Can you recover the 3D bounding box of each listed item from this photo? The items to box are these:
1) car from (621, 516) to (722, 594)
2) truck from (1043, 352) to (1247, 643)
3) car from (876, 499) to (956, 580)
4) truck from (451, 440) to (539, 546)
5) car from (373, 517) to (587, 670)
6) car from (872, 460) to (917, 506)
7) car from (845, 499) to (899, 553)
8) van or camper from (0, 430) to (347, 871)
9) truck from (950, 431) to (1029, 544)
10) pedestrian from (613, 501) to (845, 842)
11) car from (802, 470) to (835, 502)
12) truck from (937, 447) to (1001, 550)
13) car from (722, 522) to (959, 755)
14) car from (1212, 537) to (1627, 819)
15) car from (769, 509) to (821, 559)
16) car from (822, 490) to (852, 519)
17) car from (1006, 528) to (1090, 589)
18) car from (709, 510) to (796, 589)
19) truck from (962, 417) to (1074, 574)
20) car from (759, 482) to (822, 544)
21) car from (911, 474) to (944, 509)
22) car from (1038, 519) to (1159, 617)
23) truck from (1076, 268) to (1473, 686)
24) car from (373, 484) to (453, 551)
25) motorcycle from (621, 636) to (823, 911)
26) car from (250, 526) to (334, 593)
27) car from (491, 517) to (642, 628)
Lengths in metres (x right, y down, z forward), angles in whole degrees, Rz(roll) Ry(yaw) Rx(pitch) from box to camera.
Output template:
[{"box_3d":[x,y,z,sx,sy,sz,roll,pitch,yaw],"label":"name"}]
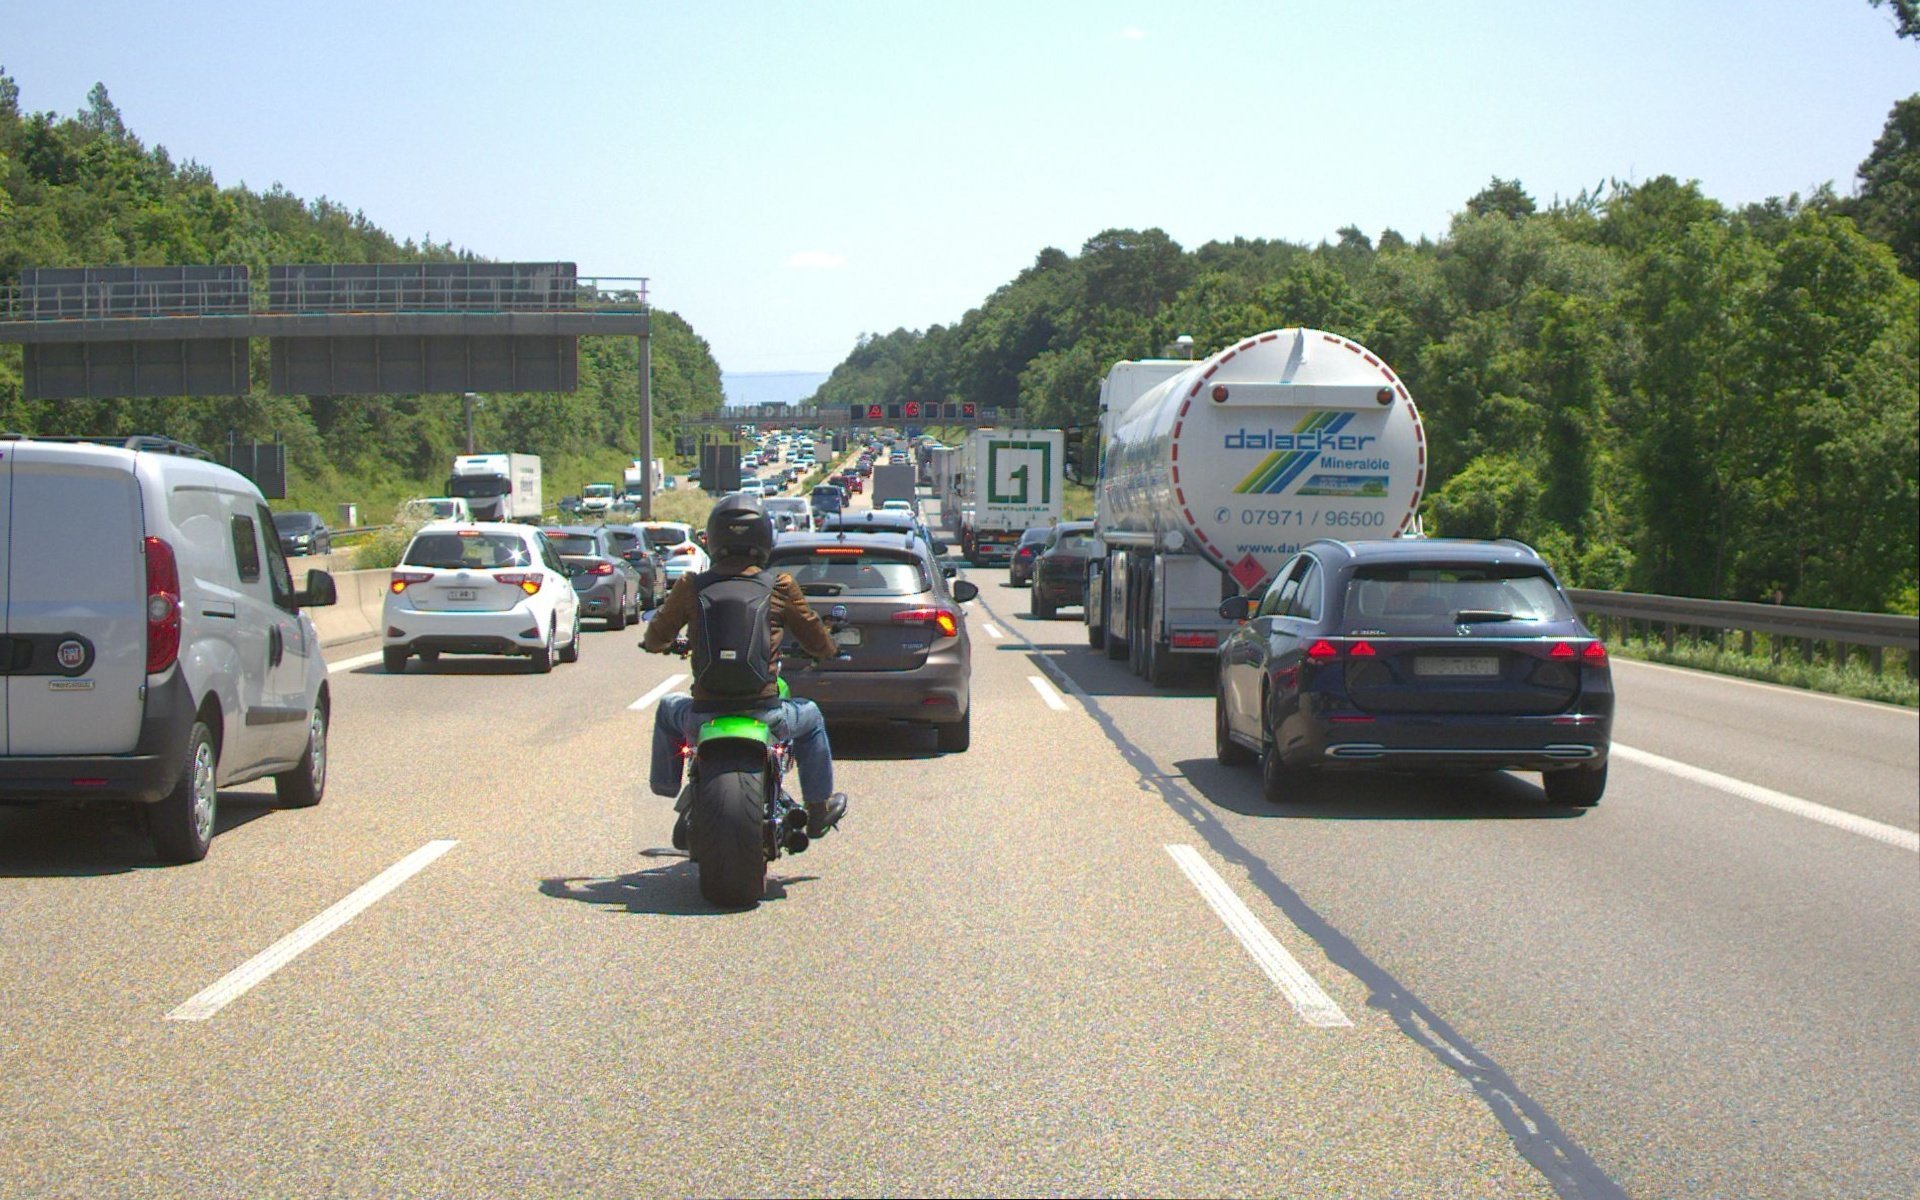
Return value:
[{"box_3d":[-5.681,-0.915,68.004,1.699,1.473,4.000,-1,1,-1],"label":"car"},{"box_3d":[2.342,-1.279,44.782,1.993,3.510,4.752,-3,0,-3],"label":"truck"},{"box_3d":[-1.157,-1.575,90.706,1.993,2.007,4.000,-3,0,-1],"label":"car"},{"box_3d":[-21.562,-4.927,159.922,2.765,4.724,10.472,-1,1,-1],"label":"truck"},{"box_3d":[-4.915,-0.107,35.643,1.699,1.473,4.000,-1,1,-1],"label":"car"},{"box_3d":[-3.758,-6.710,197.470,2.504,2.578,5.017,-1,1,-1],"label":"car"},{"box_3d":[-3.479,-2.922,136.250,1.993,2.007,4.000,-3,0,-1],"label":"car"},{"box_3d":[-4.229,0.205,16.788,1.796,1.886,4.160,0,0,-1],"label":"van or camper"},{"box_3d":[1.184,-4.640,143.793,3.033,4.527,9.983,0,1,-1],"label":"truck"},{"box_3d":[-0.960,0.285,14.540,0.849,1.357,0.961,-3,1,0],"label":"pedestrian"},{"box_3d":[-9.008,-7.238,218.730,1.993,2.007,4.000,-1,1,-1],"label":"car"},{"box_3d":[0.413,-5.166,176.051,3.033,5.122,9.983,0,1,-1],"label":"truck"},{"box_3d":[-0.827,0.221,24.255,1.532,1.504,4.000,0,1,-2],"label":"car"},{"box_3d":[2.561,0.375,20.057,1.828,1.465,4.000,0,1,-1],"label":"car"},{"box_3d":[-7.111,-2.840,148.231,1.993,2.007,4.000,-3,0,-1],"label":"car"},{"box_3d":[-8.611,-6.706,241.606,1.993,2.007,4.000,0,1,-1],"label":"car"},{"box_3d":[2.034,-0.979,80.210,1.787,1.370,3.804,-1,1,-1],"label":"car"},{"box_3d":[-4.976,-1.225,82.732,1.880,1.853,4.000,0,1,-1],"label":"car"},{"box_3d":[1.685,-3.151,104.736,3.033,4.527,9.983,0,1,-1],"label":"truck"},{"box_3d":[-5.929,-3.041,120.540,1.929,2.007,4.000,-3,0,0],"label":"car"},{"box_3d":[-2.081,-6.887,218.084,1.993,2.007,4.000,-3,0,-1],"label":"car"},{"box_3d":[2.270,-0.561,57.140,1.787,1.550,3.804,-1,1,-1],"label":"car"},{"box_3d":[3.011,-1.142,35.802,2.988,3.659,9.288,-3,0,-1],"label":"truck"},{"box_3d":[-18.182,-2.727,114.467,1.880,2.007,4.468,-4,0,-1],"label":"car"},{"box_3d":[-0.970,0.686,14.459,0.691,1.012,2.121,0,1,0],"label":"motorcycle"},{"box_3d":[-21.025,-1.258,108.334,1.827,2.007,3.880,-3,0,-1],"label":"car"},{"box_3d":[-5.483,-0.417,48.240,1.699,1.473,4.000,-1,1,-1],"label":"car"}]
